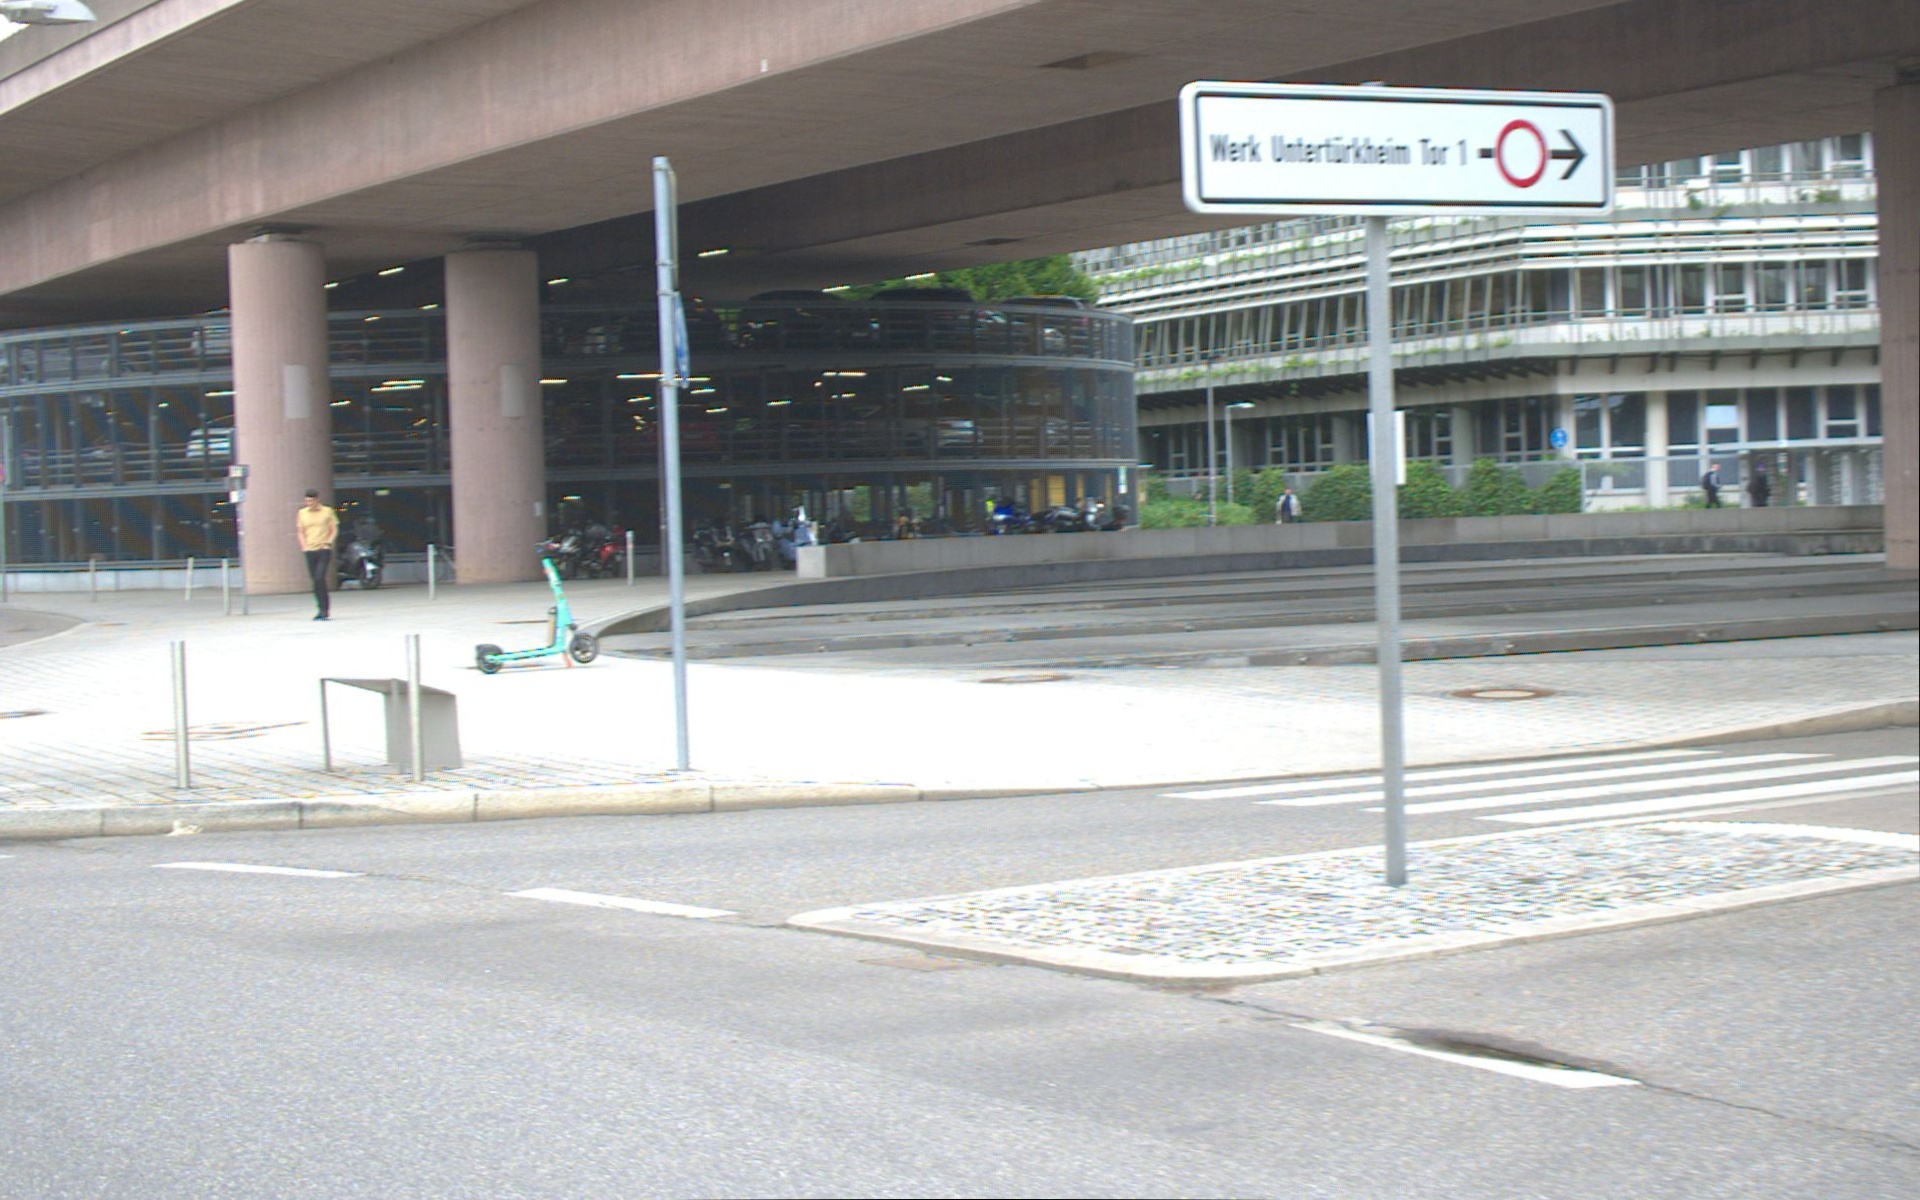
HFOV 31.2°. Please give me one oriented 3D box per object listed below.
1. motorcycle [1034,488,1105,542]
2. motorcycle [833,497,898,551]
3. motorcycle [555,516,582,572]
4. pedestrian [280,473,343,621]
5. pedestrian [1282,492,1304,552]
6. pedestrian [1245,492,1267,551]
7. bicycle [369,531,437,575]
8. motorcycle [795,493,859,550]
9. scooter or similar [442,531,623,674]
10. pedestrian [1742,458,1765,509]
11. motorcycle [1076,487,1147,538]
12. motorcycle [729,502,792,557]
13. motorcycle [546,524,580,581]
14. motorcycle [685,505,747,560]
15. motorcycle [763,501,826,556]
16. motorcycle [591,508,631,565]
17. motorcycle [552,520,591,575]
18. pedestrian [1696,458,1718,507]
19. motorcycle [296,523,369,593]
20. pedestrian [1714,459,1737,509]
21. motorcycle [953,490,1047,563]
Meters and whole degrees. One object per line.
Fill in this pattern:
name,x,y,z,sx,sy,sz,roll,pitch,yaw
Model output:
motorcycle,2.689,-2.108,84.737,0.672,1.271,2.364,-3,3,-26
motorcycle,-2.236,-1.804,80.972,0.672,1.215,2.079,-3,3,-26
motorcycle,-8.897,-1.270,78.155,0.520,1.215,1.151,-2,3,-9
pedestrian,-9.053,-0.753,47.971,0.782,2.006,1.040,-2,3,-10
pedestrian,11.324,-2.660,117.024,0.527,2.007,0.574,-2,1,-19
pedestrian,10.103,-2.679,117.436,0.527,2.007,0.574,-2,1,-19
bicycle,-12.901,-1.088,79.679,1.472,0.973,0.452,-2,3,-1
motorcycle,-3.124,-1.845,80.517,0.672,1.281,2.079,-3,3,-26
scooter or similar,-4.097,0.016,32.929,1.643,1.291,0.519,-2,3,-12
pedestrian,23.408,-3.440,101.430,0.496,1.476,0.544,0,3,32
motorcycle,3.771,-2.196,85.839,0.672,1.215,2.364,-3,3,-26
motorcycle,-4.629,-1.644,79.741,0.672,1.215,2.079,-3,3,-26
motorcycle,-8.911,-1.064,77.223,0.520,1.215,1.150,-1,3,4
motorcycle,-5.659,-1.578,79.542,0.672,1.215,2.079,-3,3,-26
motorcycle,-3.865,-1.675,80.156,0.672,1.215,2.079,-3,3,-26
motorcycle,-7.941,-1.447,78.253,0.829,1.215,2.079,-2,3,-5
motorcycle,-8.431,-1.131,74.640,0.520,1.167,1.150,-1,0,9
pedestrian,22.625,-3.566,104.137,0.496,1.476,0.544,0,3,32
motorcycle,-13.449,-0.906,73.623,0.642,1.450,1.762,-4,4,-43
pedestrian,22.622,-3.427,101.602,0.496,1.476,0.544,0,3,32
motorcycle,0.742,-1.357,63.214,0.548,1.260,1.936,1,4,42
